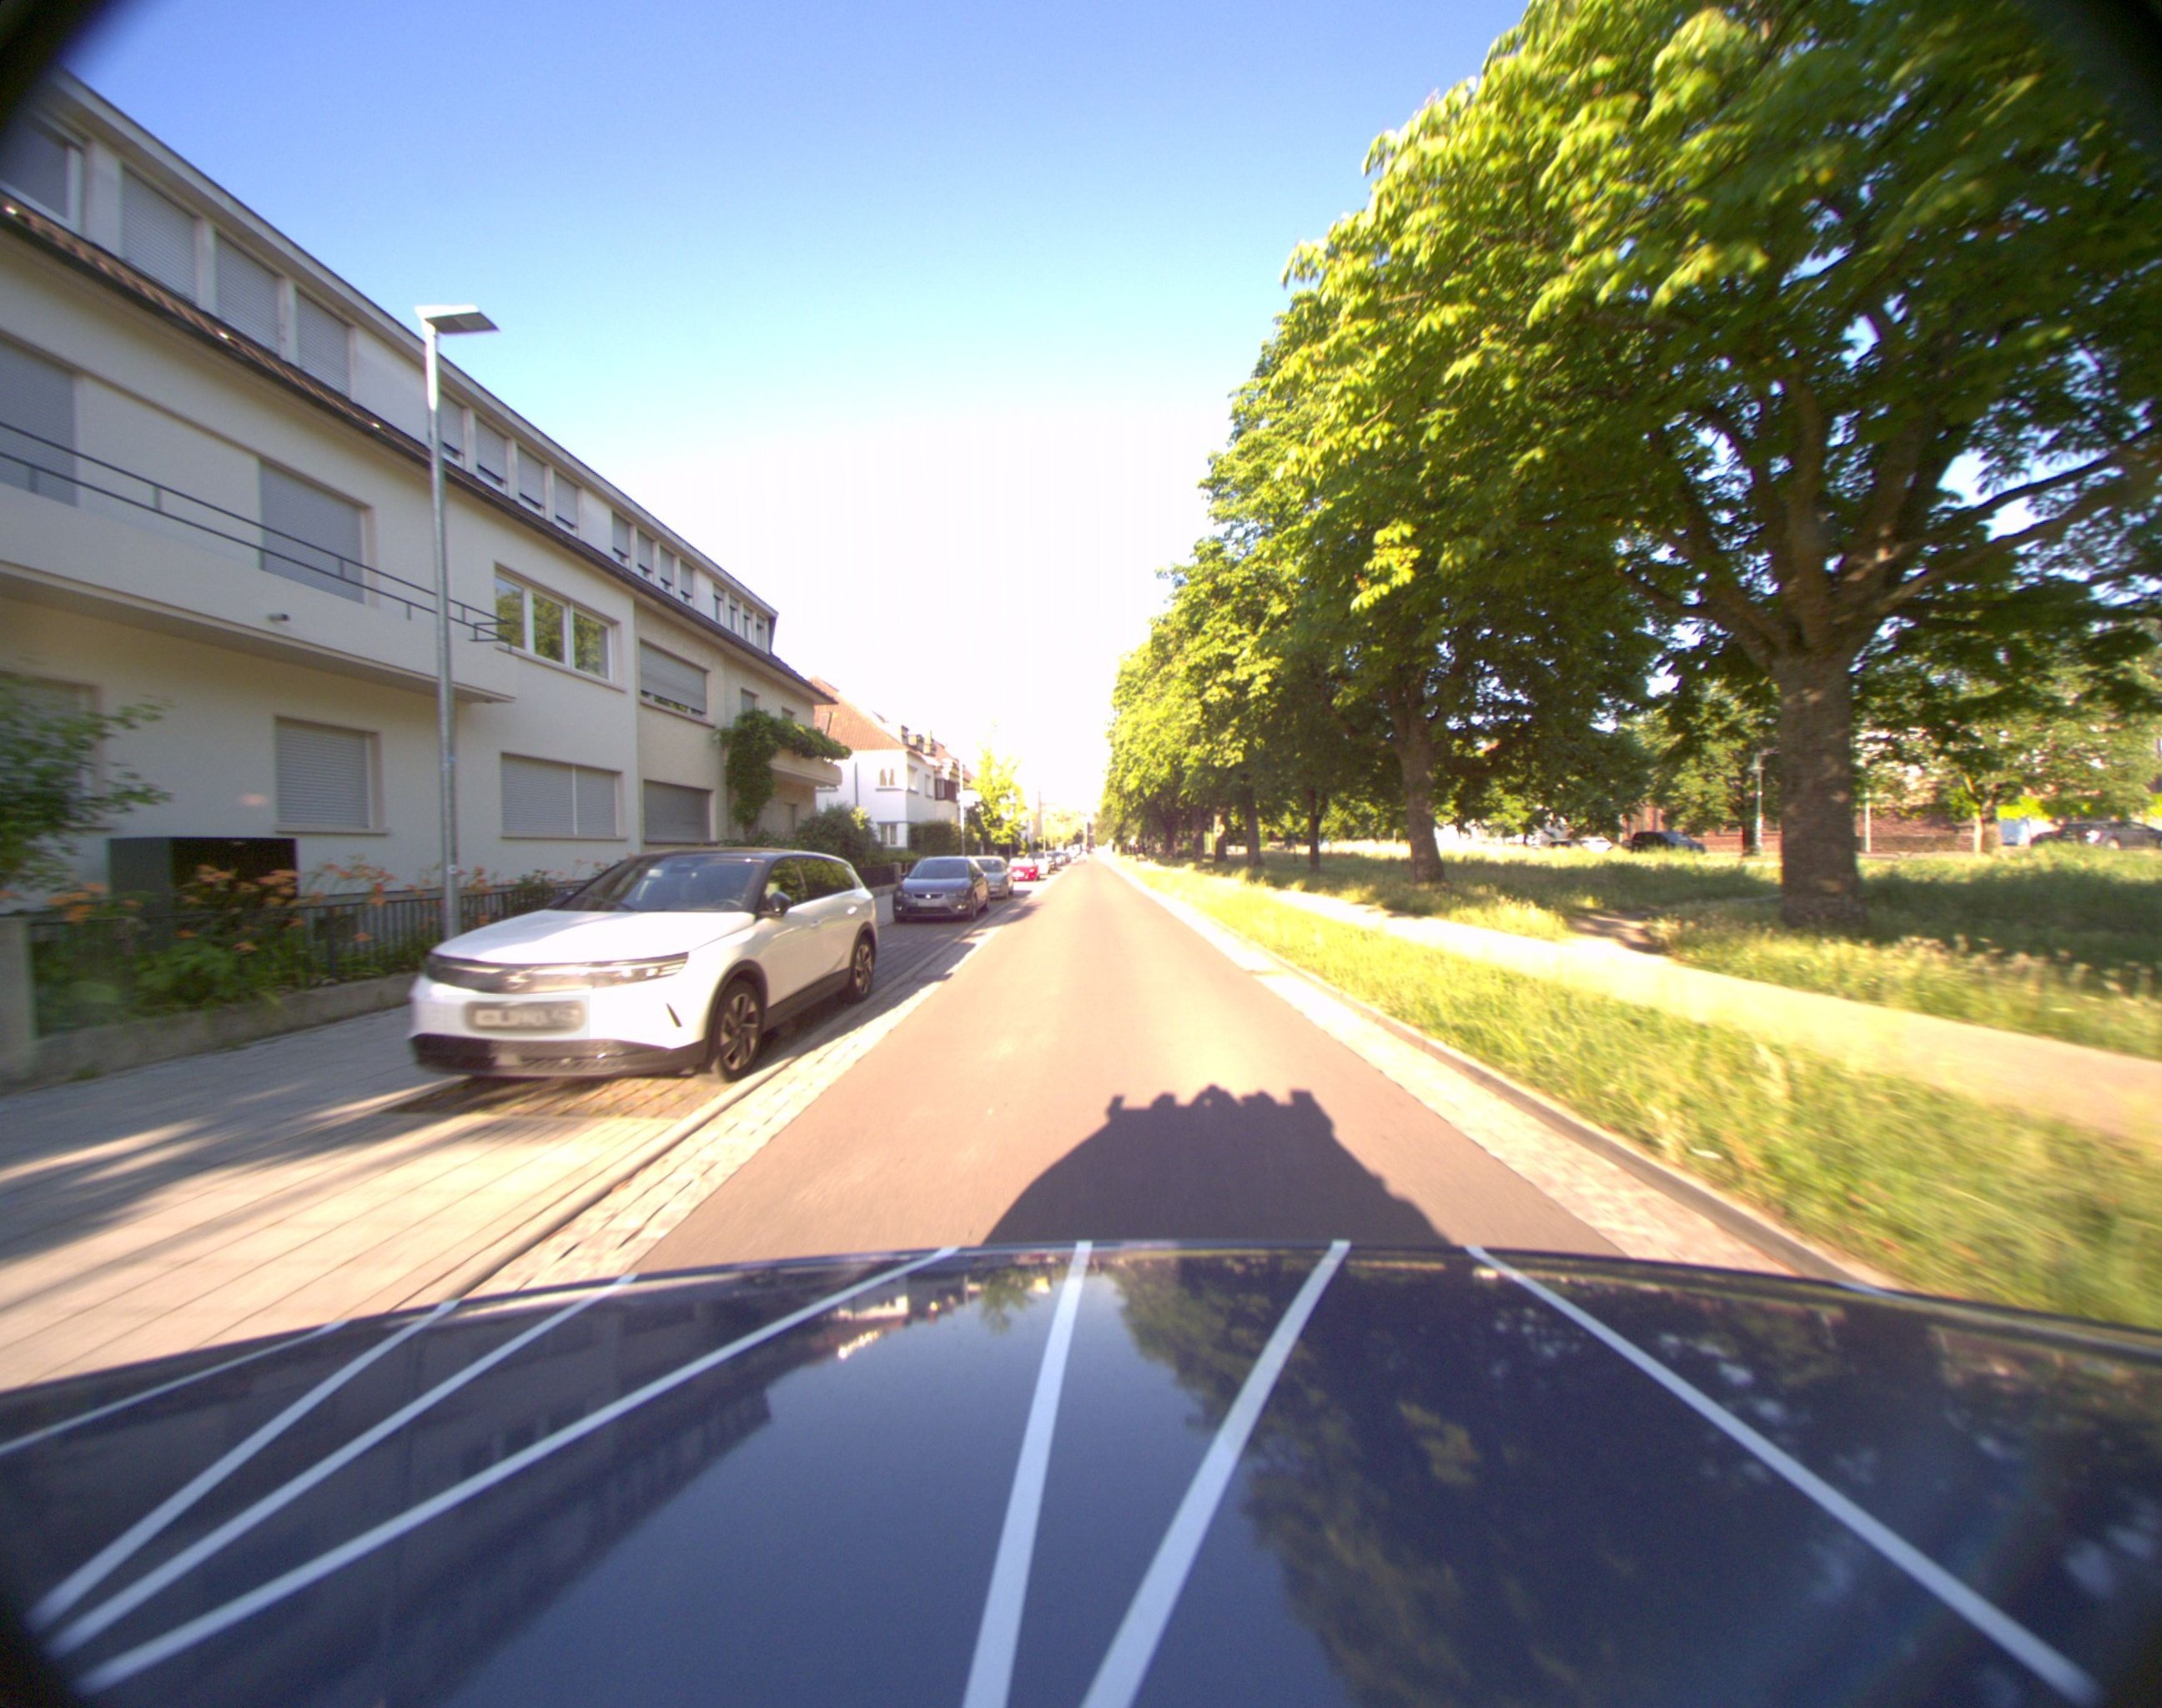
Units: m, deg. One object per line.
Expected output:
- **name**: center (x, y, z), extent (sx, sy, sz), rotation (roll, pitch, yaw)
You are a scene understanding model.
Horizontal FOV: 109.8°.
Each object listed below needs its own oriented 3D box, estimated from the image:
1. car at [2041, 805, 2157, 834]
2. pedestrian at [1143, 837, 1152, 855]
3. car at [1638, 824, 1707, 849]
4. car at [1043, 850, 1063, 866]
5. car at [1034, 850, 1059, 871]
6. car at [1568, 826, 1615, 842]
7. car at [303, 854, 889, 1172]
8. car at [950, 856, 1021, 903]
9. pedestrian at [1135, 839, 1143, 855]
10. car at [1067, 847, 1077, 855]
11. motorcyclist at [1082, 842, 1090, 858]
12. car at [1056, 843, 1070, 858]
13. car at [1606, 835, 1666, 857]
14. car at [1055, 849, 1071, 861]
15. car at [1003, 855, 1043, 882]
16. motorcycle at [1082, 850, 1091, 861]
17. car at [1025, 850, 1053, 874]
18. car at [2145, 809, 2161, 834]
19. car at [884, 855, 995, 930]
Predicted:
- **car**: center (51.176, -1.726, 38.248), extent (3.636, 1.273, 1.586), rotation (-2, 2, 2)
- **pedestrian**: center (6.882, -0.838, 79.130), extent (0.625, 1.841, 0.606), rotation (-1, 2, 40)
- **car**: center (37.359, -1.094, 48.128), extent (1.585, 1.473, 3.639), rotation (-2, 1, 1)
- **car**: center (-2.717, 0.356, 74.815), extent (1.665, 1.527, 3.832), rotation (0, 1, 2)
- **car**: center (-2.626, 0.487, 58.954), extent (1.746, 1.471, 4.056), rotation (-2, 1, 0)
- **car**: center (43.134, -1.669, 64.258), extent (1.585, 1.267, 3.580), rotation (-2, 1, 1)
- **car**: center (-3.247, 0.866, 6.447), extent (1.910, 1.698, 4.575), rotation (1, 0, 2)
- **car**: center (-3.094, 0.792, 25.396), extent (1.798, 1.372, 4.078), rotation (1, 1, 0)
- **pedestrian**: center (6.062, -0.725, 79.441), extent (0.625, 1.621, 0.606), rotation (-2, 2, 27)
- **car**: center (-1.661, -0.573, 143.387), extent (1.844, 1.471, 3.763), rotation (-2, 1, 0)
- **motorcyclist**: center (0.673, -0.474, 97.606), extent (0.961, 2.002, 1.273), rotation (-3, 2, 0)
- **car**: center (-2.646, -0.521, 111.155), extent (1.844, 2.196, 3.763), rotation (-2, 1, 1)
- **car**: center (43.159, -0.623, 59.186), extent (1.766, 1.619, 3.999), rotation (-2, 1, 0)
- **car**: center (-2.253, 0.122, 94.948), extent (1.844, 1.471, 3.763), rotation (-2, 1, 1)
- **car**: center (-2.930, 0.710, 39.231), extent (1.702, 1.250, 3.879), rotation (-1, 1, 0)
- **motorcycle**: center (0.703, 0.164, 97.714), extent (1.077, 1.373, 2.463), rotation (-3, 1, 0)
- **car**: center (-2.693, 0.484, 49.410), extent (1.508, 1.471, 3.492), rotation (0, 1, 1)
- **car**: center (56.772, -1.709, 38.409), extent (3.636, 1.273, 1.586), rotation (-2, 2, 2)
- **car**: center (-3.202, 0.806, 17.994), extent (1.798, 1.485, 4.193), rotation (1, 1, 0)
